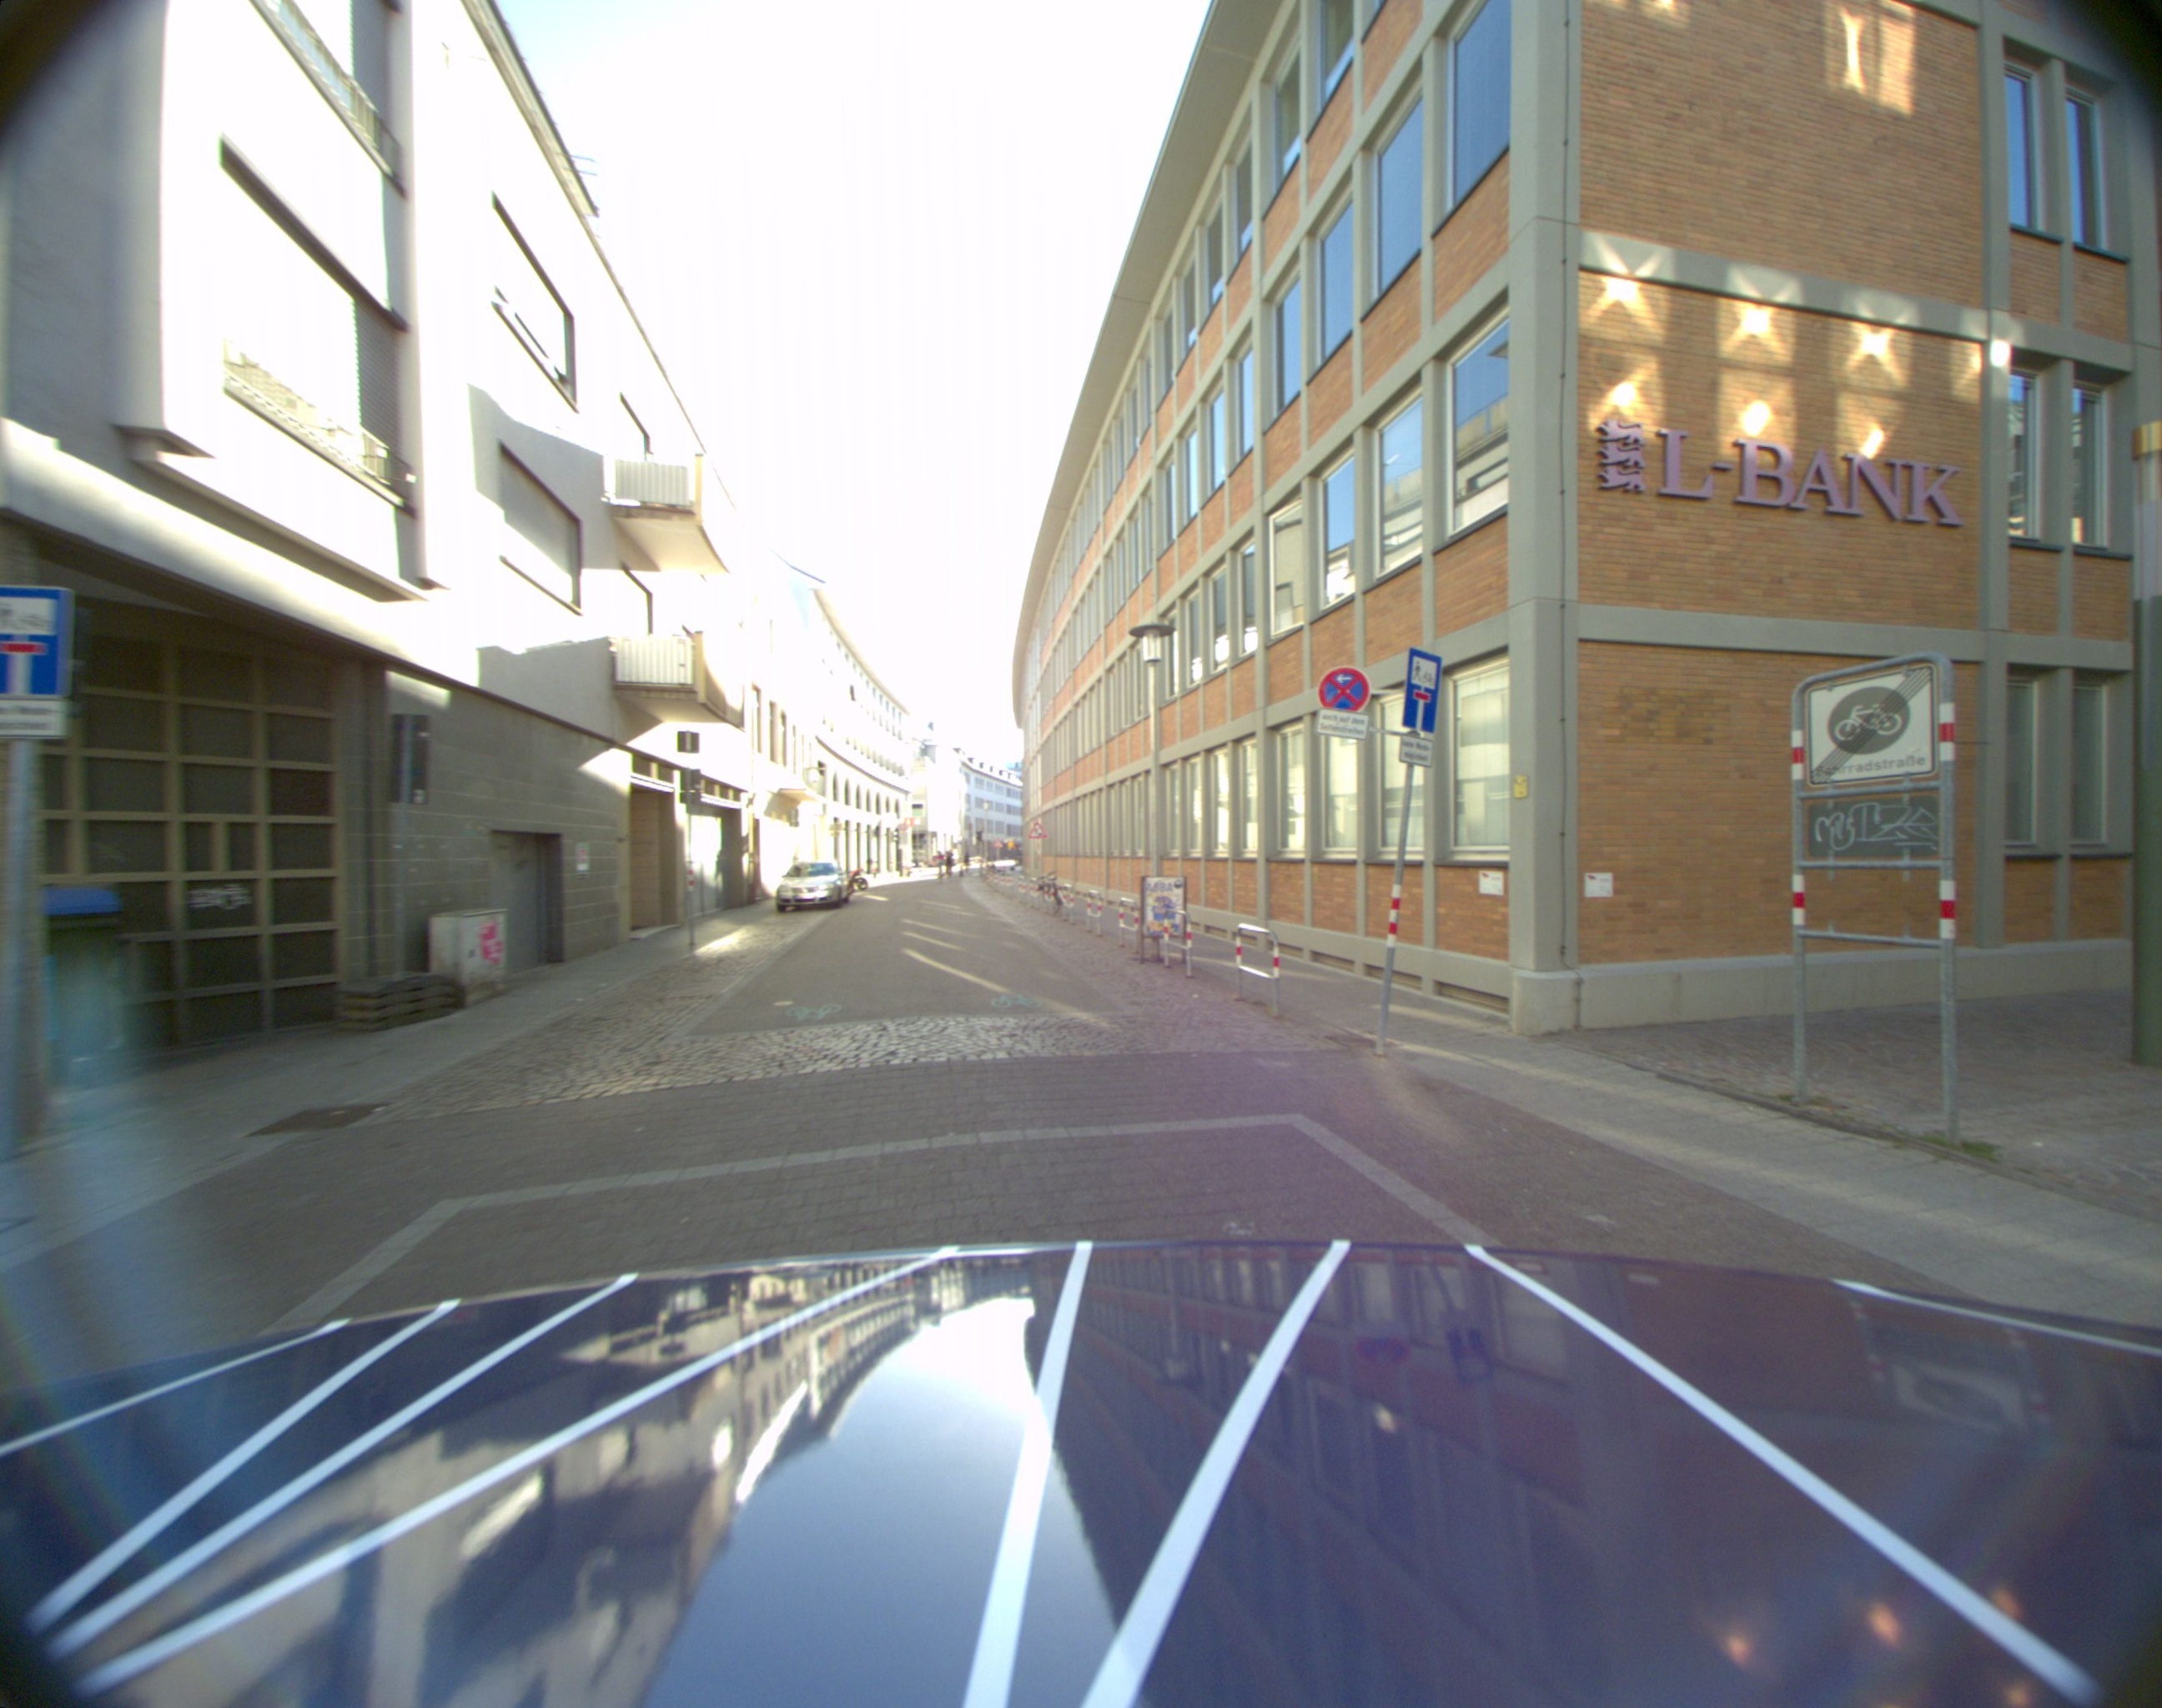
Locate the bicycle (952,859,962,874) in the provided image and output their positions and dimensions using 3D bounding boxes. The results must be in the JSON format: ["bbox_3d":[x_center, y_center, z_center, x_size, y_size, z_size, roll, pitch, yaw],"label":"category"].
[{"bbox_3d":[-8.696,0.865,53.213,0.577,0.955,1.719,-1,1,-6],"label":"bicycle"}]

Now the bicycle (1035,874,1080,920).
[{"bbox_3d":[-0.621,1.070,19.325,0.628,1.048,1.820,-1,1,-18],"label":"bicycle"}]

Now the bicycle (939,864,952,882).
[{"bbox_3d":[-7.053,0.982,39.561,0.525,0.843,1.489,-1,1,-7],"label":"bicycle"}]

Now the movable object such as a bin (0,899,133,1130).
[{"bbox_3d":[-7.674,1.096,5.168,1.126,1.454,1.438,0,1,36],"label":"movable object such as a bin"}]

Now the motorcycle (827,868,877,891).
[{"bbox_3d":[-10.220,1.121,33.905,1.997,0.950,0.645,-1,1,2],"label":"motorcycle"}]

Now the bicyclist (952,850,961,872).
[{"bbox_3d":[-8.724,0.480,53.225,0.577,1.525,0.815,-1,1,-6],"label":"bicyclist"}]

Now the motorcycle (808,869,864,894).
[{"bbox_3d":[-9.682,1.078,30.028,1.997,0.950,0.645,-1,1,2],"label":"motorcycle"}]

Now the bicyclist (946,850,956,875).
[{"bbox_3d":[-8.329,0.516,48.716,0.581,1.565,0.691,-1,1,-7],"label":"bicyclist"}]

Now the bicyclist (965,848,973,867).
[{"bbox_3d":[-9.239,0.266,62.505,0.581,1.565,0.691,-1,1,-5],"label":"bicyclist"}]

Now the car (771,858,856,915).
[{"bbox_3d":[-7.985,0.900,23.017,1.848,1.453,3.994,-3,1,-12],"label":"car"}]

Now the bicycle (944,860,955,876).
[{"bbox_3d":[-8.334,0.884,48.285,0.577,0.955,1.719,-1,1,-6],"label":"bicycle"}]

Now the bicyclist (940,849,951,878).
[{"bbox_3d":[-7.061,0.499,39.598,0.473,1.495,0.794,-1,1,-9],"label":"bicyclist"}]

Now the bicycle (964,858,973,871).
[{"bbox_3d":[-9.221,0.848,62.502,0.623,0.955,1.719,-1,1,-6],"label":"bicycle"}]
